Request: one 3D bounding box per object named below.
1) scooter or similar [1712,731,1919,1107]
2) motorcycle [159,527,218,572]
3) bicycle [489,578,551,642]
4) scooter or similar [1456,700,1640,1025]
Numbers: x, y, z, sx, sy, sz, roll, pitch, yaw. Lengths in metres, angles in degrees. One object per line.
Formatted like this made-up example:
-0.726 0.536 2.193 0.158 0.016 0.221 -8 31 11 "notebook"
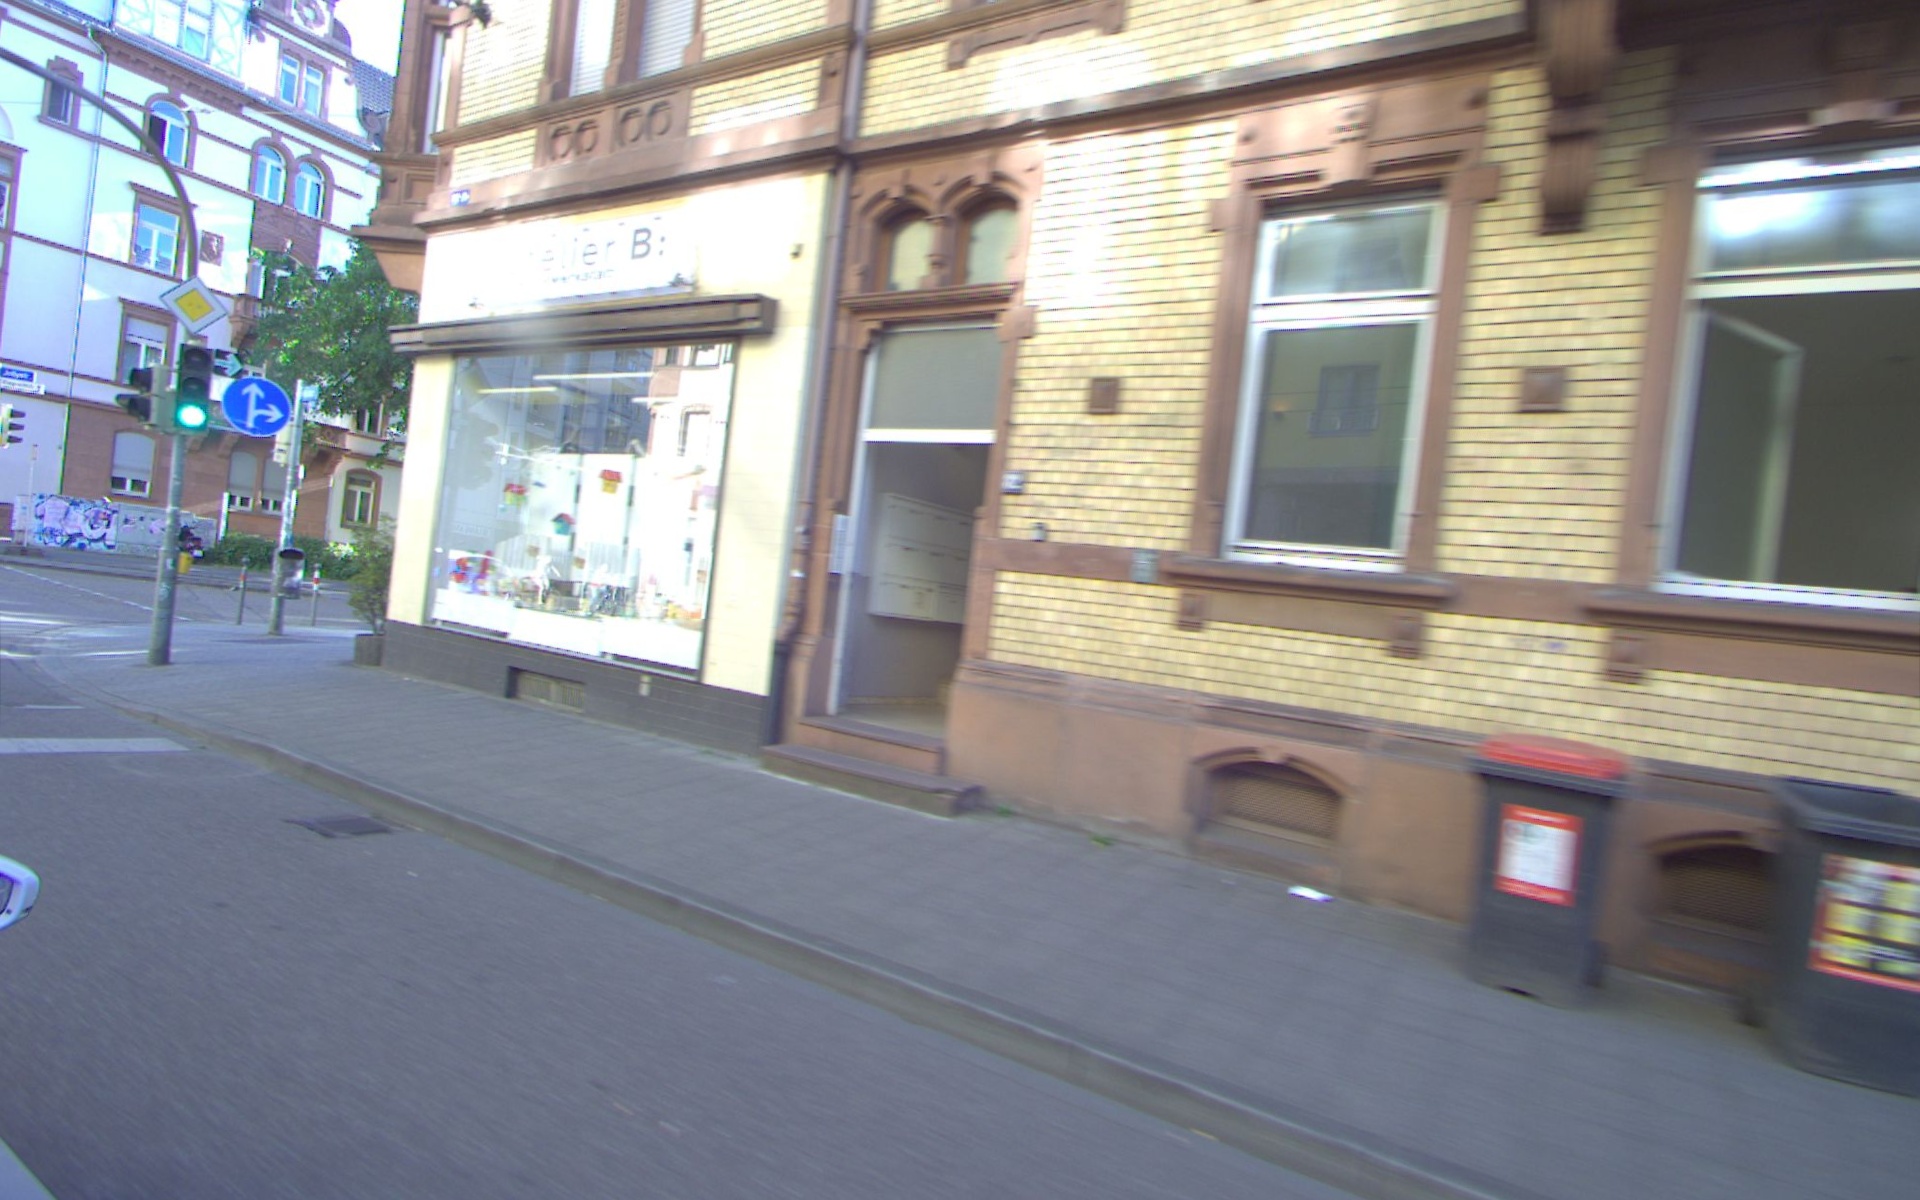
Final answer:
3.535 1.198 4.008 0.639 1.164 0.933 7 4 30 "scooter or similar"
-24.862 -1.633 32.401 2.350 1.139 0.611 9 2 31 "motorcycle"
-8.757 0.184 19.994 0.612 1.156 2.101 6 -2 -35 "bicycle"
2.629 1.105 4.529 0.538 1.165 0.897 7 4 30 "scooter or similar"
